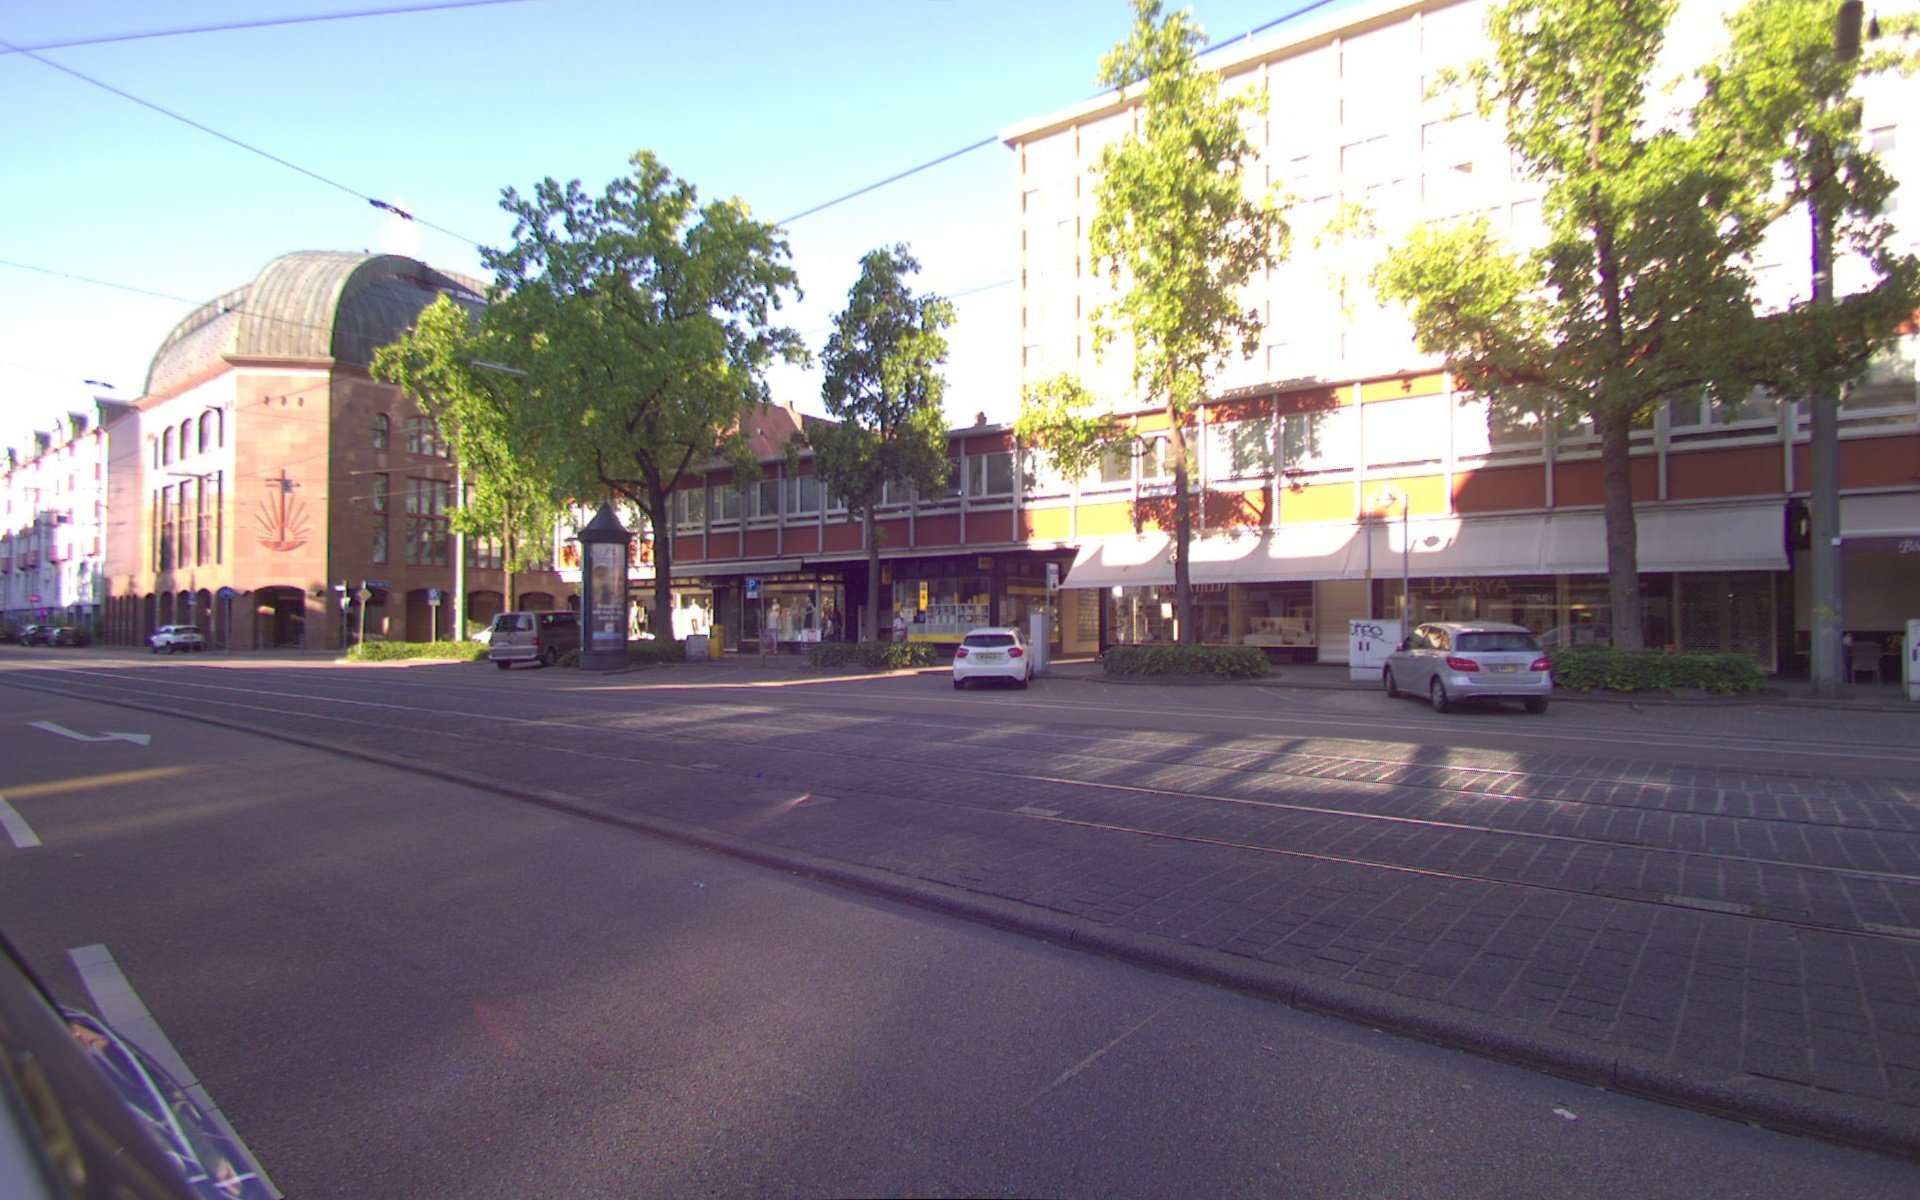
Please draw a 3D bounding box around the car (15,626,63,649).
[{"bbox_3d":[-71.825,2.938,78.930,4.552,1.713,1.941,-1,-1,37],"label":"car"}]

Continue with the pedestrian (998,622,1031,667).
[{"bbox_3d":[1.847,1.489,34.121,0.898,1.481,0.681,-1,-2,36],"label":"pedestrian"}]

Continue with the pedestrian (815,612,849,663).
[{"bbox_3d":[-4.781,1.392,37.868,0.898,1.892,0.908,-1,-2,36],"label":"pedestrian"}]

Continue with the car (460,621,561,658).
[{"bbox_3d":[-25.955,2.251,58.635,2.128,1.982,4.934,2,0,36],"label":"car"}]

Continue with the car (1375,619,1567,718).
[{"bbox_3d":[9.307,1.173,18.867,1.805,1.578,4.271,0,0,7],"label":"car"}]

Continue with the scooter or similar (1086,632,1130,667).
[{"bbox_3d":[4.744,1.587,32.486,1.335,1.102,0.470,-1,-1,36],"label":"scooter or similar"}]

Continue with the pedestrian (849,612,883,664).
[{"bbox_3d":[-3.478,1.403,37.367,0.898,1.892,0.908,-1,-2,36],"label":"pedestrian"}]

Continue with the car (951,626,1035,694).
[{"bbox_3d":[0.902,1.443,25.352,1.745,1.440,4.261,-1,0,7],"label":"car"}]

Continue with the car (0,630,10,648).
[{"bbox_3d":[-86.753,3.489,90.587,4.555,1.520,1.807,-1,-1,38],"label":"car"}]

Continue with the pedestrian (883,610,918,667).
[{"bbox_3d":[-2.035,1.311,34.497,0.903,1.892,0.903,1,-2,-24],"label":"pedestrian"}]

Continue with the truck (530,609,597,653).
[{"bbox_3d":[-25.817,1.990,65.815,4.519,2.784,1.835,-1,-2,34],"label":"truck"}]

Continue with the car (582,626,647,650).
[{"bbox_3d":[-23.534,2.597,68.899,4.519,1.585,1.835,-1,-2,34],"label":"car"}]

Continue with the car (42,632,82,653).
[{"bbox_3d":[-66.399,3.120,74.829,3.679,1.411,1.626,-1,-1,39],"label":"car"}]

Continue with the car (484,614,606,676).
[{"bbox_3d":[-14.632,1.518,36.046,1.831,1.943,5.112,0,0,6],"label":"car"}]

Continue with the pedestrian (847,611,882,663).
[{"bbox_3d":[-3.670,1.414,38.903,0.898,1.963,0.984,-1,-2,36],"label":"pedestrian"}]

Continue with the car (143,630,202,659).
[{"bbox_3d":[-45.407,2.533,58.323,4.269,1.602,1.581,-1,0,36],"label":"car"}]

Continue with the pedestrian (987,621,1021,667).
[{"bbox_3d":[1.457,1.453,33.537,0.898,1.509,0.681,-1,-2,36],"label":"pedestrian"}]

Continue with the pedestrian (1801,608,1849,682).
[{"bbox_3d":[18.796,0.972,22.005,0.705,1.575,0.864,-2,-2,38],"label":"pedestrian"}]
